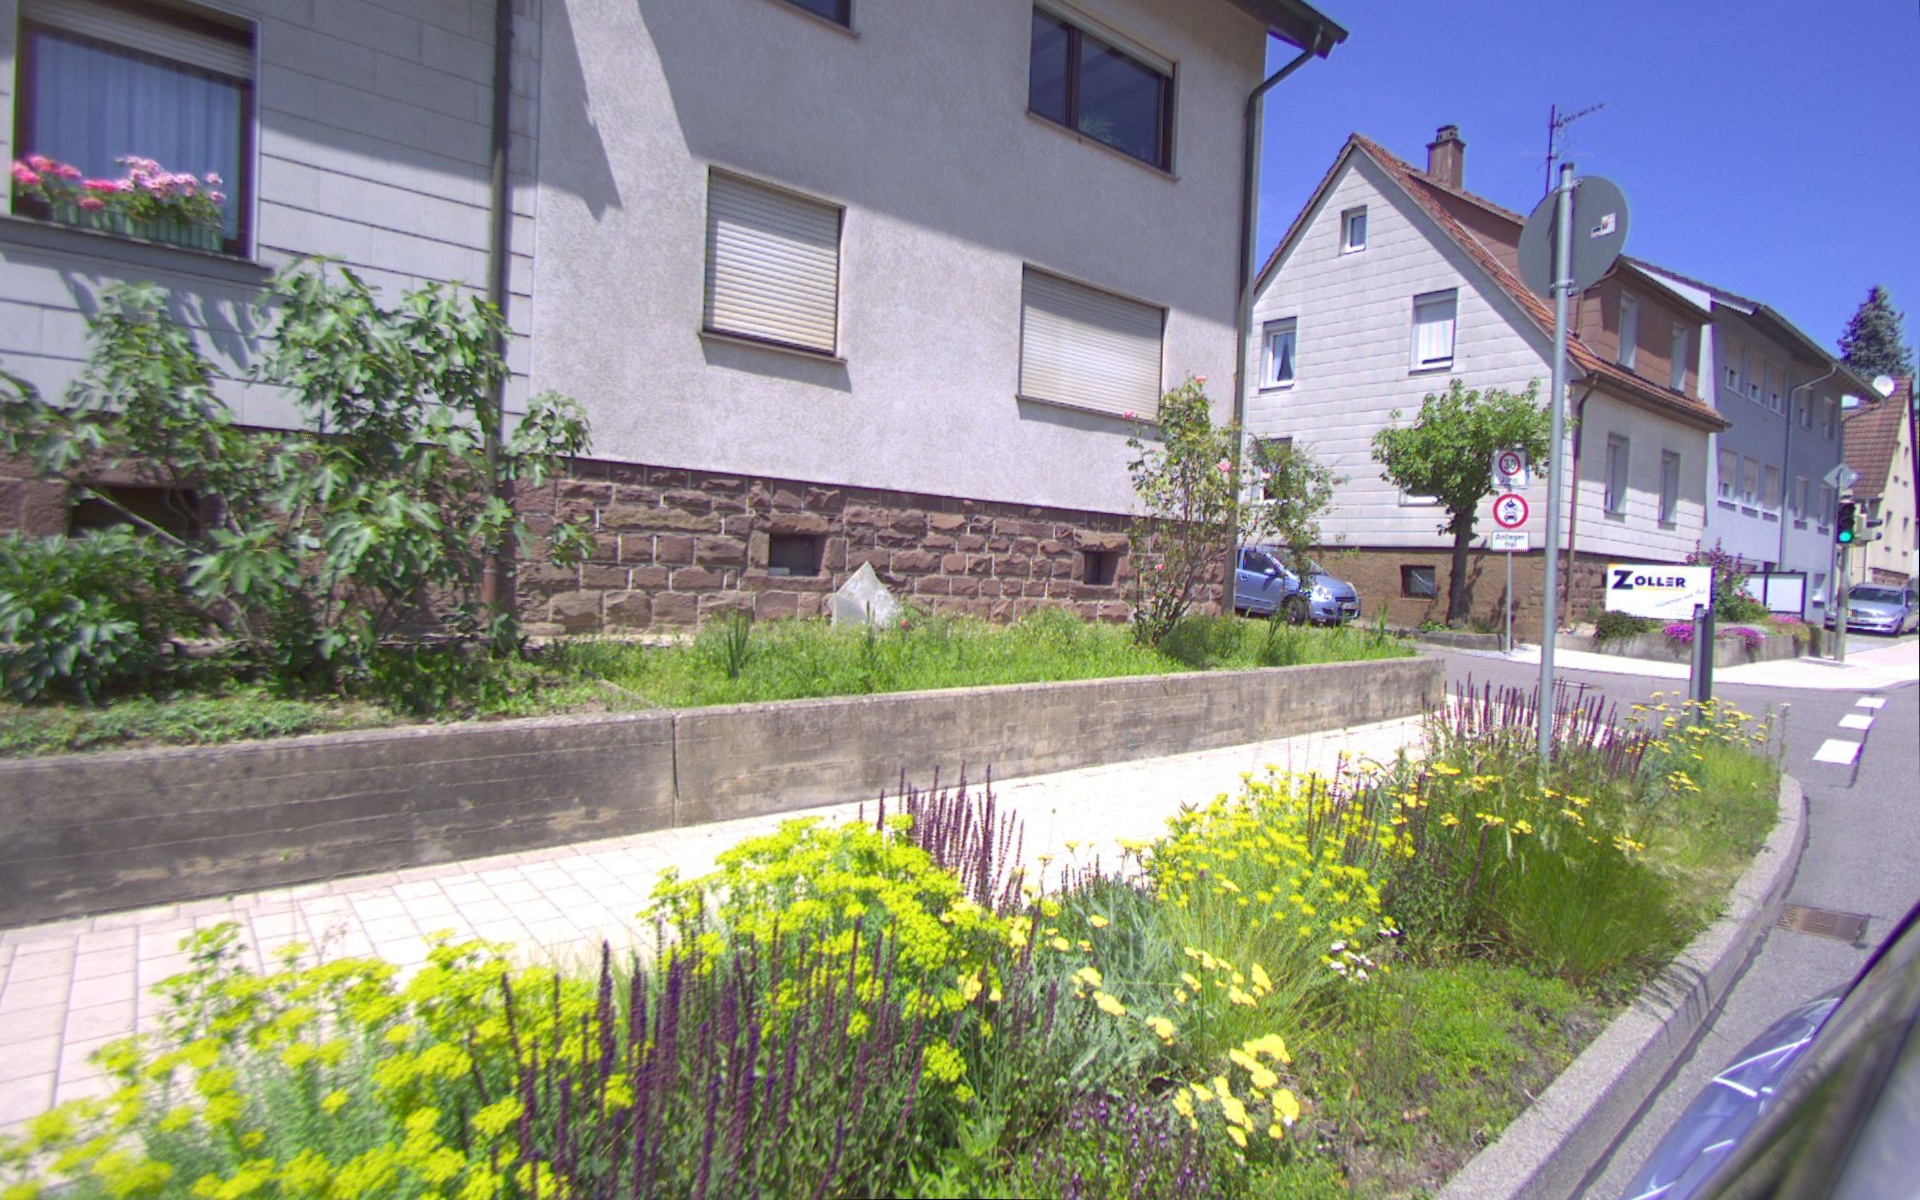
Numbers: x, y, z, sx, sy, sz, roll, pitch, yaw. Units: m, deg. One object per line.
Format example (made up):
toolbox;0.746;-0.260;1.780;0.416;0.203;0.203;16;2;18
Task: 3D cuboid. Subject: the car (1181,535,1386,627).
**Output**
car;6.460;-0.454;20.491;1.766;1.509;3.528;-1;6;-37

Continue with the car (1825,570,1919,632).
car;28.377;-0.036;31.034;4.426;1.640;1.869;-1;6;-38
